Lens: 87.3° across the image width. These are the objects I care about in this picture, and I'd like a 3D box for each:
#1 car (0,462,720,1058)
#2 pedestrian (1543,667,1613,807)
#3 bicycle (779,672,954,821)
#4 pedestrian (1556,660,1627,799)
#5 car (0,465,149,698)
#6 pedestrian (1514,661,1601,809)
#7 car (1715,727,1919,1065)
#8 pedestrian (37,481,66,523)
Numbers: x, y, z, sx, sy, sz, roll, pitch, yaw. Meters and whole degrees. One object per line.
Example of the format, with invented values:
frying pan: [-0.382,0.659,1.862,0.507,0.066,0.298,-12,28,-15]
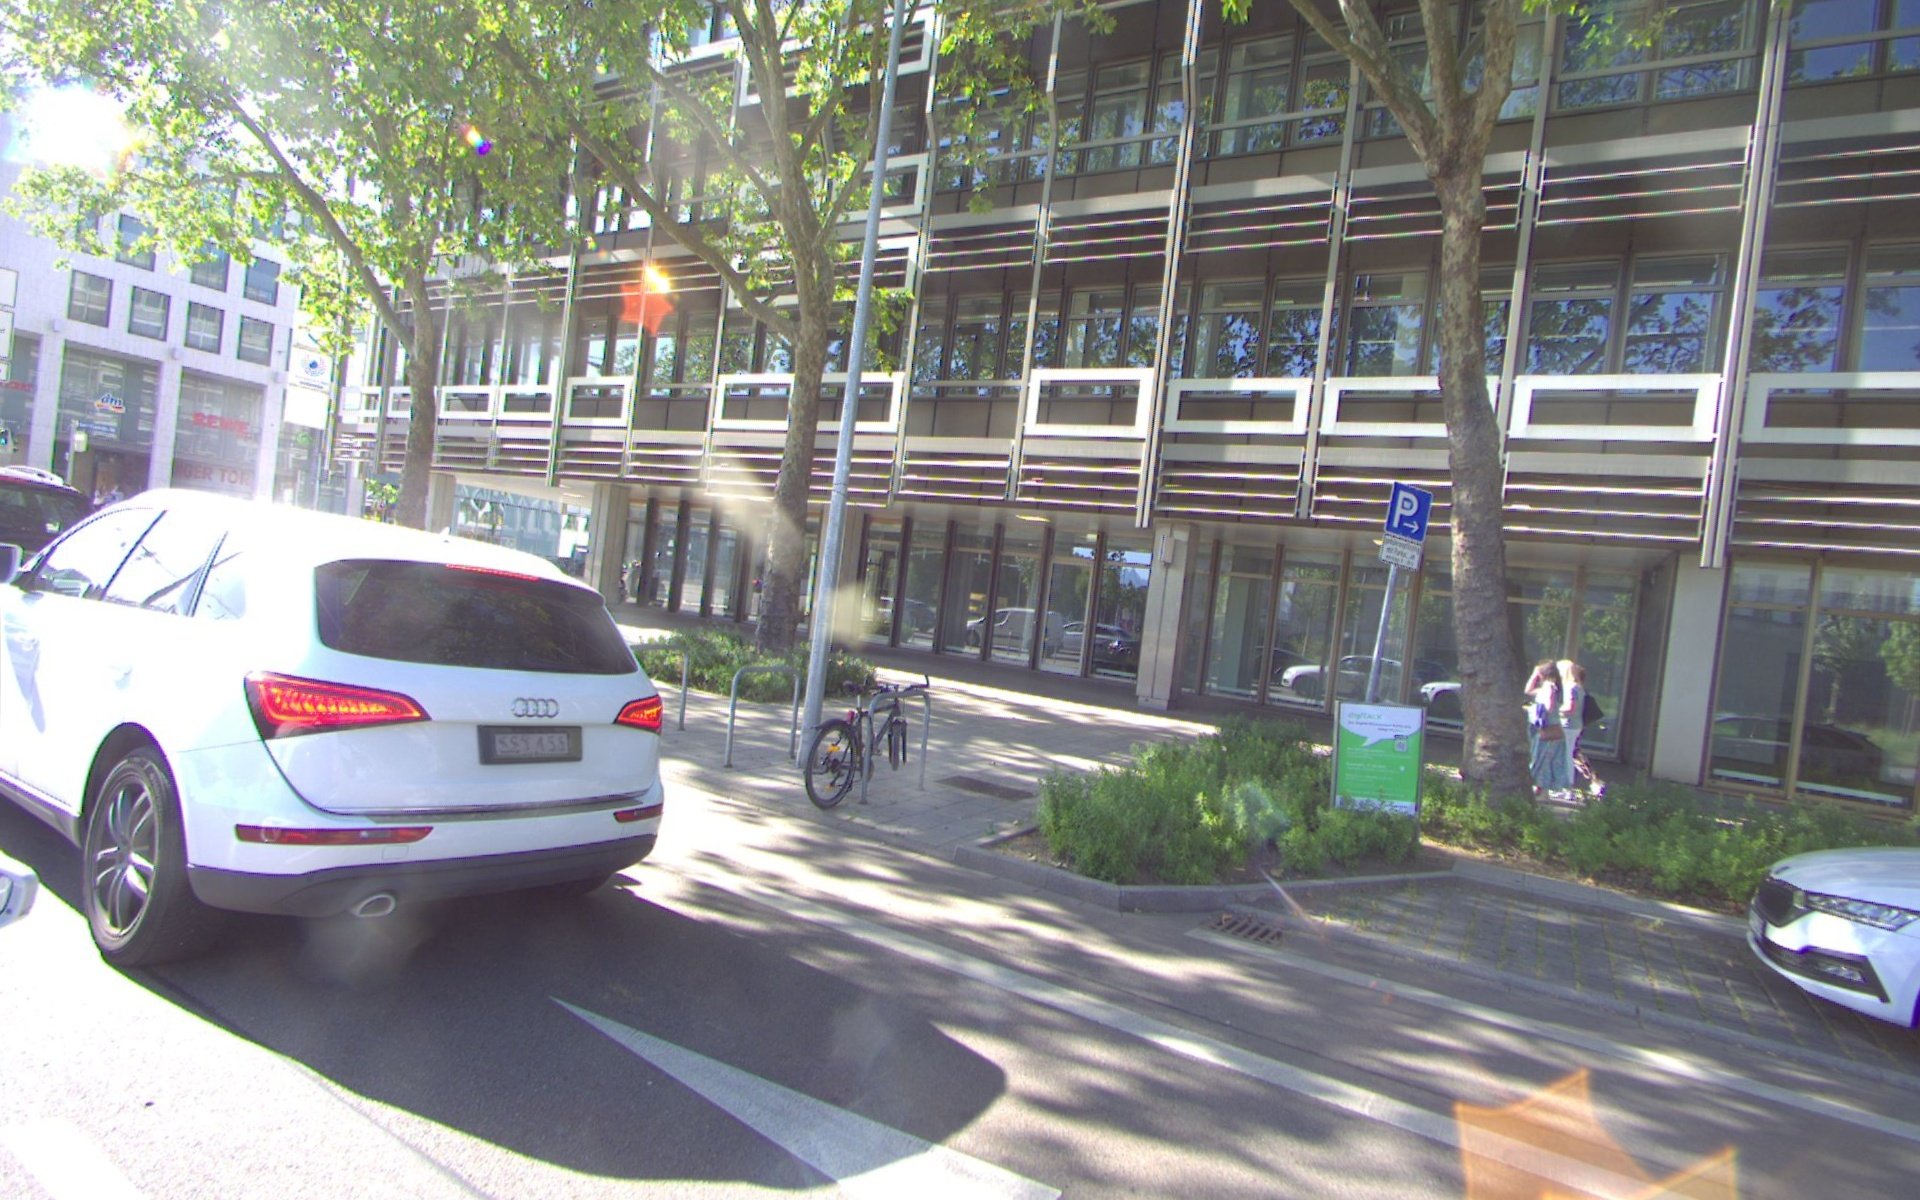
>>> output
car: [-3.296,0.349,4.721,4.118,1.638,1.723,7,0,33]
pedestrian: [7.460,1.642,12.161,0.492,1.604,0.316,8,1,23]
bicycle: [-0.698,1.113,8.070,0.470,0.970,1.696,7,1,27]
pedestrian: [7.872,1.602,12.566,0.563,1.622,0.554,8,1,31]
car: [-8.662,-0.349,8.249,4.116,1.673,1.724,7,0,31]
pedestrian: [6.961,1.550,11.746,0.623,1.604,0.507,8,1,23]
car: [6.605,1.769,4.784,4.524,1.511,1.706,7,0,32]
pedestrian: [-33.915,-3.665,37.563,0.622,1.457,0.562,6,-2,38]
